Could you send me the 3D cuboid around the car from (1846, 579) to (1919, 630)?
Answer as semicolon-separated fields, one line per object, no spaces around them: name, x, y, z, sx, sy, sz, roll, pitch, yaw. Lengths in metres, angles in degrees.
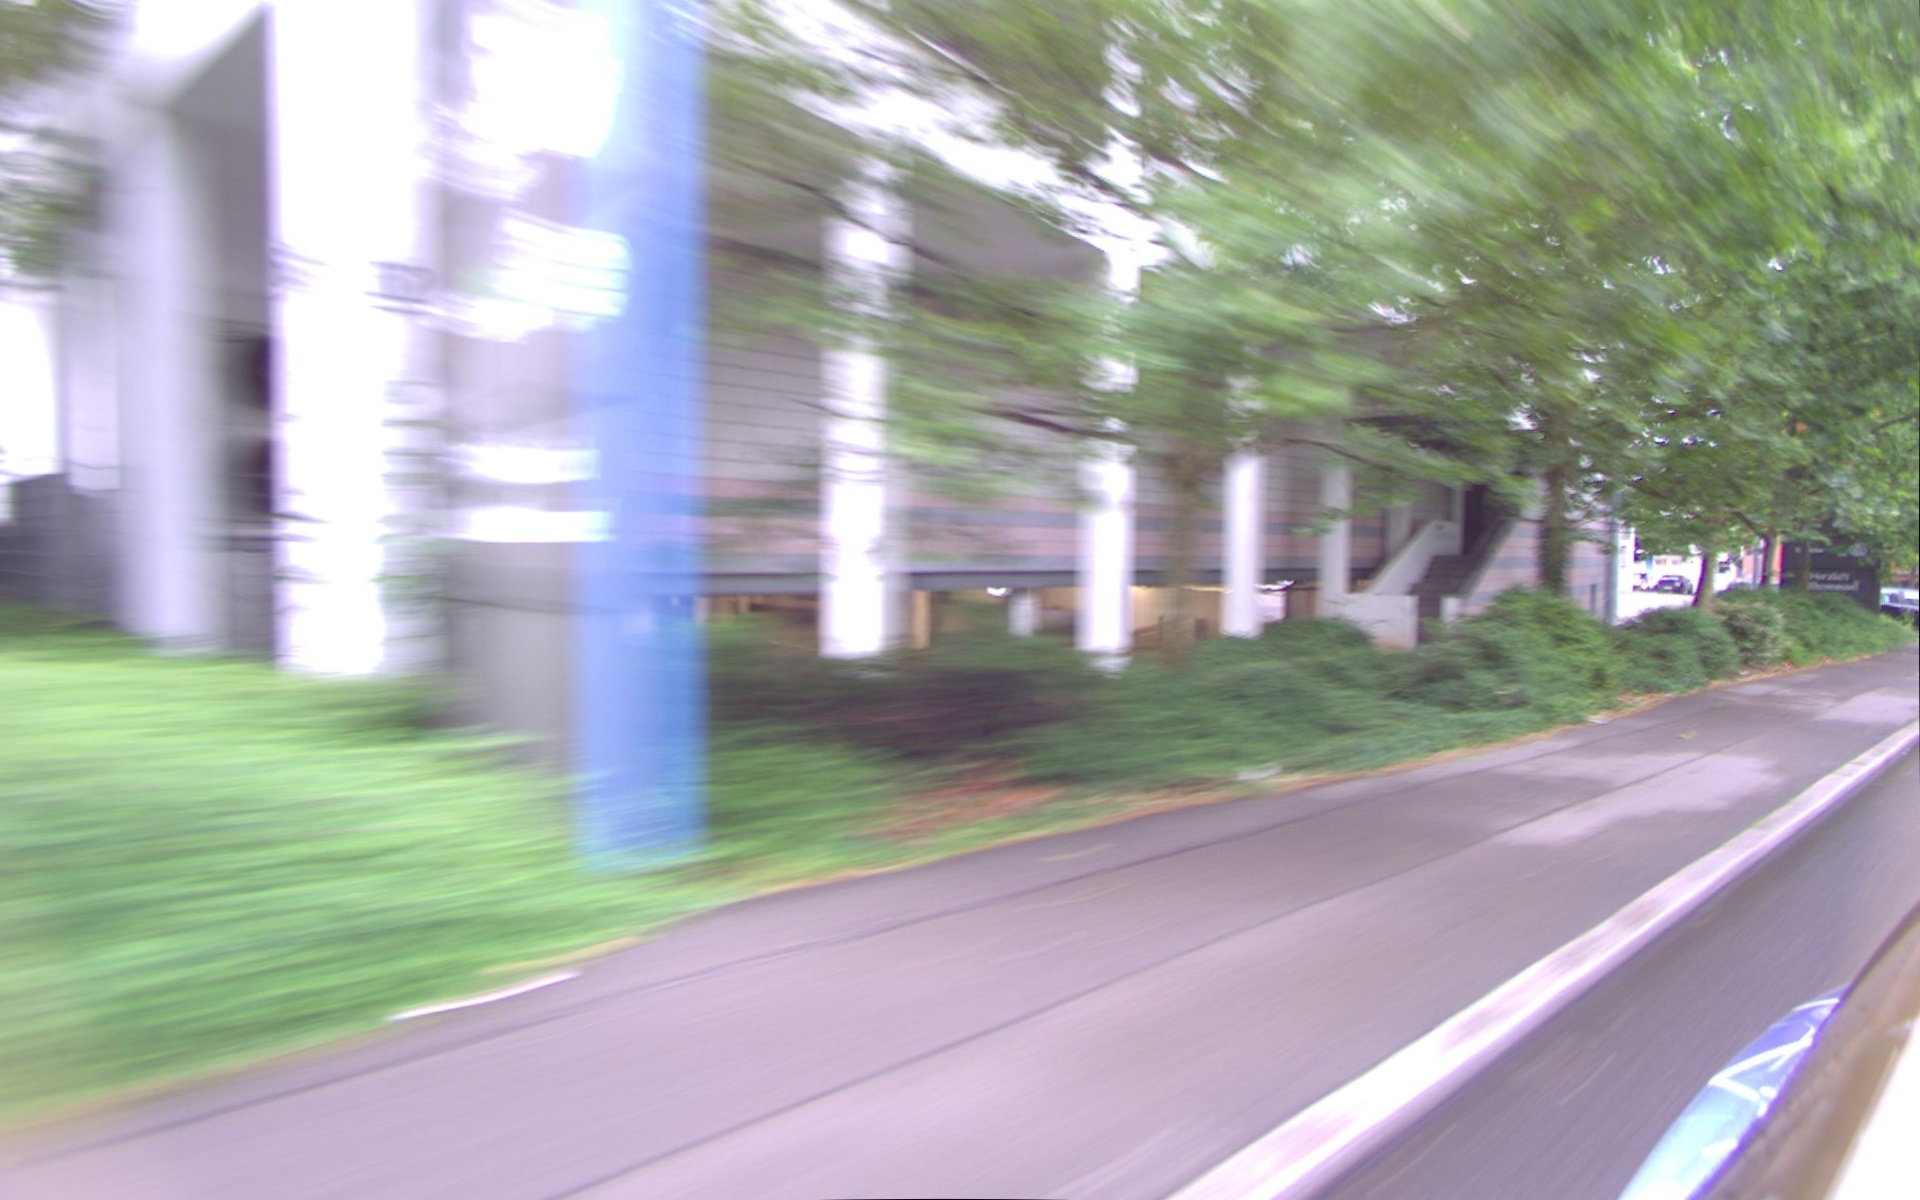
car;31.587;0.169;33.057;3.850;1.566;1.995;4;4;44

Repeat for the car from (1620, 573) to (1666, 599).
car;52.062;-1.069;77.073;3.928;1.840;1.912;-3;2;-40

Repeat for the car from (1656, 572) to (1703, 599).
car;53.626;-1.074;75.403;3.928;1.840;1.912;-3;2;-40
